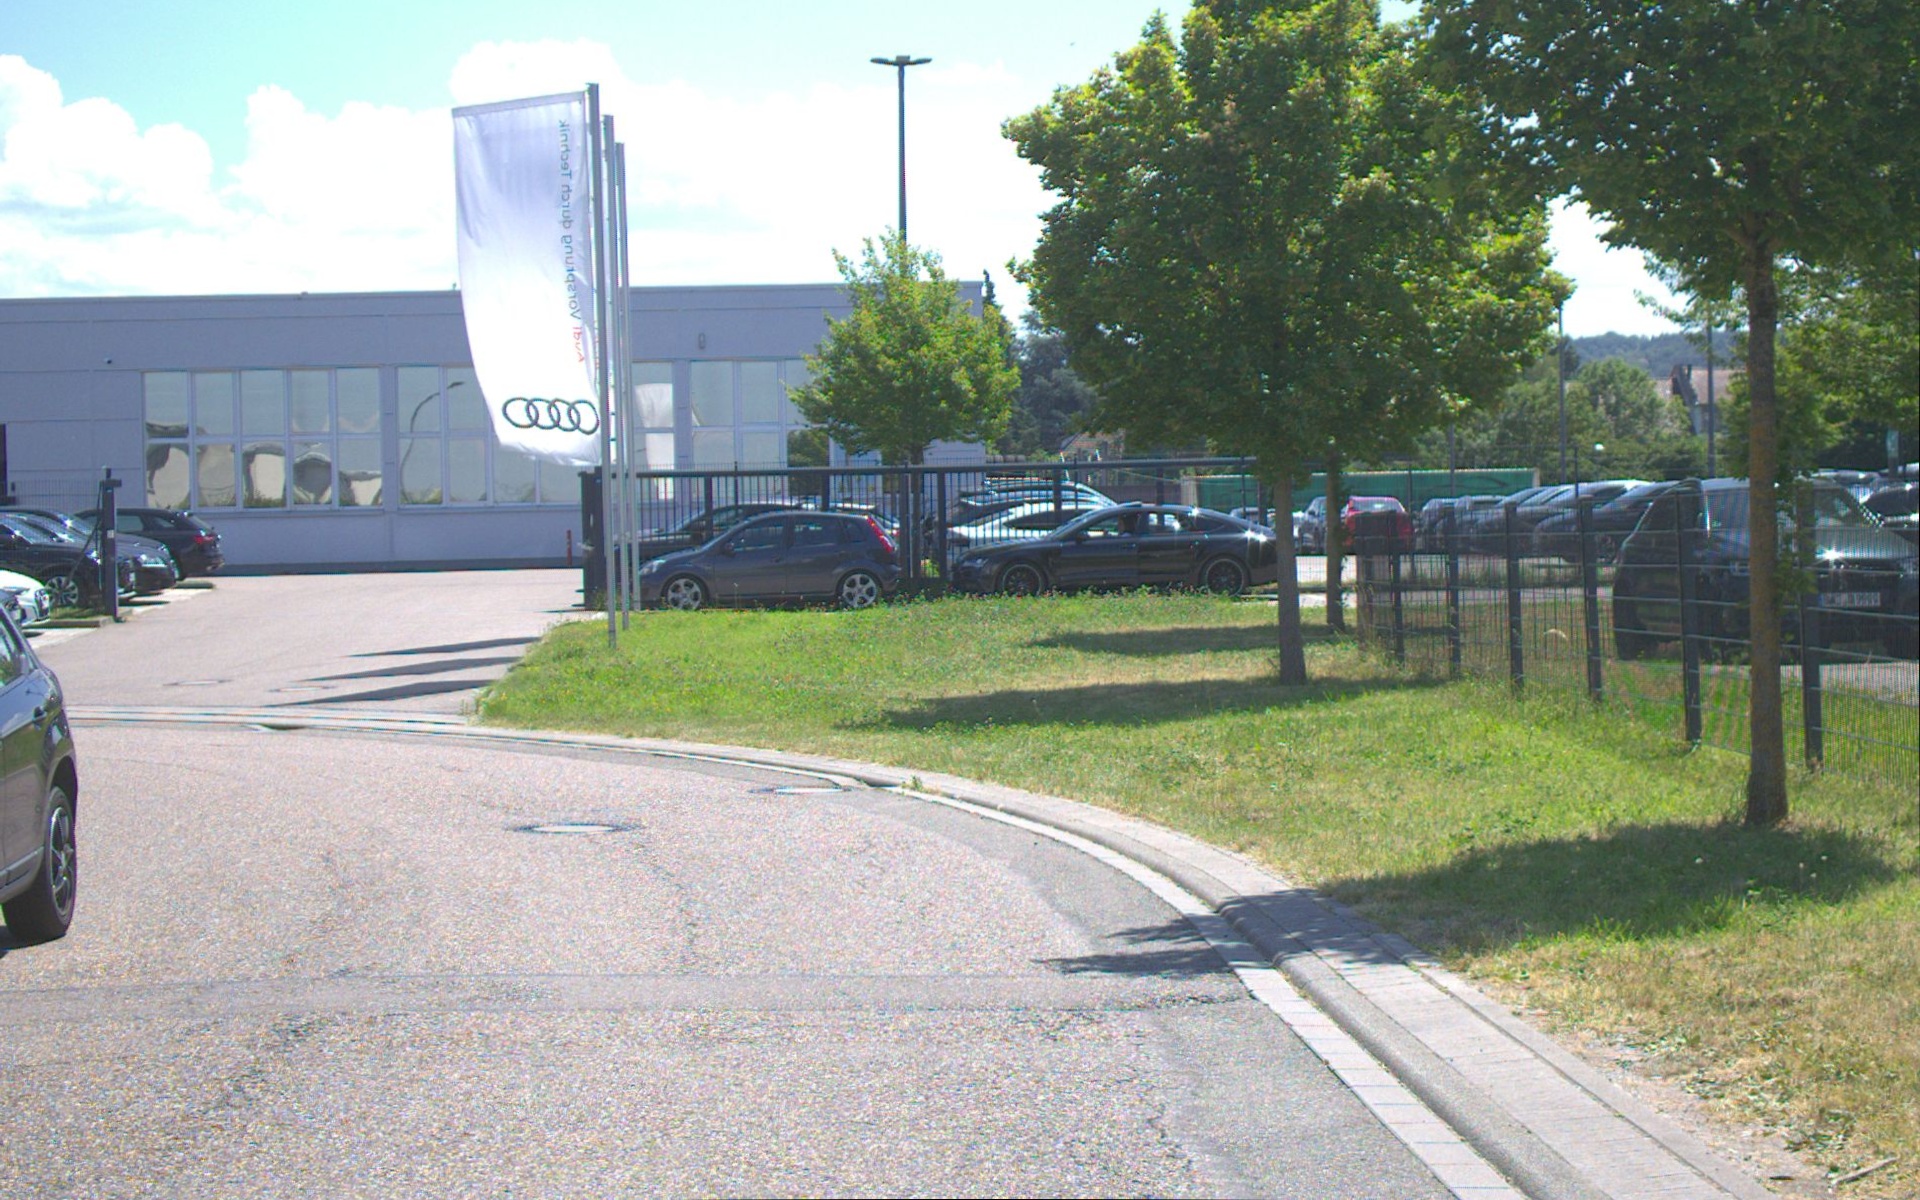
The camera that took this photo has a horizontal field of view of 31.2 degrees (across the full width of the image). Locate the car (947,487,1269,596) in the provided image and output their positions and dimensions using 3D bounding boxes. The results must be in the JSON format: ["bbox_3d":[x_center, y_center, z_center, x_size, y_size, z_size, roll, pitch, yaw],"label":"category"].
[{"bbox_3d":[2.098,-0.832,49.683,4.437,1.393,2.000,-1,-1,-3],"label":"car"}]

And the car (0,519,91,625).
[{"bbox_3d":[-14.666,-0.342,48.333,4.437,1.393,2.000,-1,-1,-3],"label":"car"}]

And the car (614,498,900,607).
[{"bbox_3d":[-2.920,-0.672,49.508,3.986,1.393,2.000,-1,-1,-3],"label":"car"}]

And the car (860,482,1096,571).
[{"bbox_3d":[0.282,-1.280,60.412,3.986,1.393,2.000,-1,-1,-3],"label":"car"}]

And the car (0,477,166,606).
[{"bbox_3d":[-14.842,-0.873,53.312,4.586,1.916,2.000,-2,1,-2],"label":"car"}]

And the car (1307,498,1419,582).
[{"bbox_3d":[9.573,-1.407,81.941,1.993,1.821,4.000,-1,-1,-2],"label":"car"}]

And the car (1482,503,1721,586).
[{"bbox_3d":[11.995,-1.031,64.419,3.986,1.393,2.000,-1,-1,-3],"label":"car"}]

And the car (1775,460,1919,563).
[{"bbox_3d":[14.651,-1.339,51.220,4.437,1.393,2.000,-1,-1,-3],"label":"car"}]

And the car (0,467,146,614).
[{"bbox_3d":[-14.983,-0.834,50.993,5.317,2.090,2.000,-2,1,-2],"label":"car"}]

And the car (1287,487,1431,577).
[{"bbox_3d":[7.066,-1.182,61.288,1.993,1.393,4.000,-1,-1,-1],"label":"car"}]

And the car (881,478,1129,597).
[{"bbox_3d":[0.719,-1.038,57.711,3.986,1.821,2.000,-1,-1,-3],"label":"car"}]

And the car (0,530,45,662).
[{"bbox_3d":[-14.004,0.017,43.343,4.437,1.621,2.000,-1,-1,-3],"label":"car"}]

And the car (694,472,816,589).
[{"bbox_3d":[-3.569,-1.176,59.541,1.993,1.821,4.000,-1,-1,-4],"label":"car"}]

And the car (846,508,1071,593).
[{"bbox_3d":[-0.055,-0.900,63.328,3.986,1.393,2.000,-1,-1,-3],"label":"car"}]

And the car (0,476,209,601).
[{"bbox_3d":[-14.809,-0.970,55.619,4.883,1.916,2.000,-2,1,-2],"label":"car"}]

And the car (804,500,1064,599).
[{"bbox_3d":[-0.440,-0.791,54.475,3.986,1.393,2.000,-1,-1,-3],"label":"car"}]

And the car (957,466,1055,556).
[{"bbox_3d":[1.018,-1.995,78.424,1.993,1.821,4.000,-1,-1,-2],"label":"car"}]

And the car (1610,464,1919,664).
[{"bbox_3d":[6.817,-0.317,28.601,1.735,1.517,3.896,-2,1,-5],"label":"car"}]

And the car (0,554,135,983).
[{"bbox_3d":[-4.391,0.630,12.495,1.833,1.541,4.265,-2,1,-2],"label":"car"}]

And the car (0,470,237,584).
[{"bbox_3d":[-15.720,-1.303,62.080,4.883,1.916,2.000,-2,1,-2],"label":"car"}]
